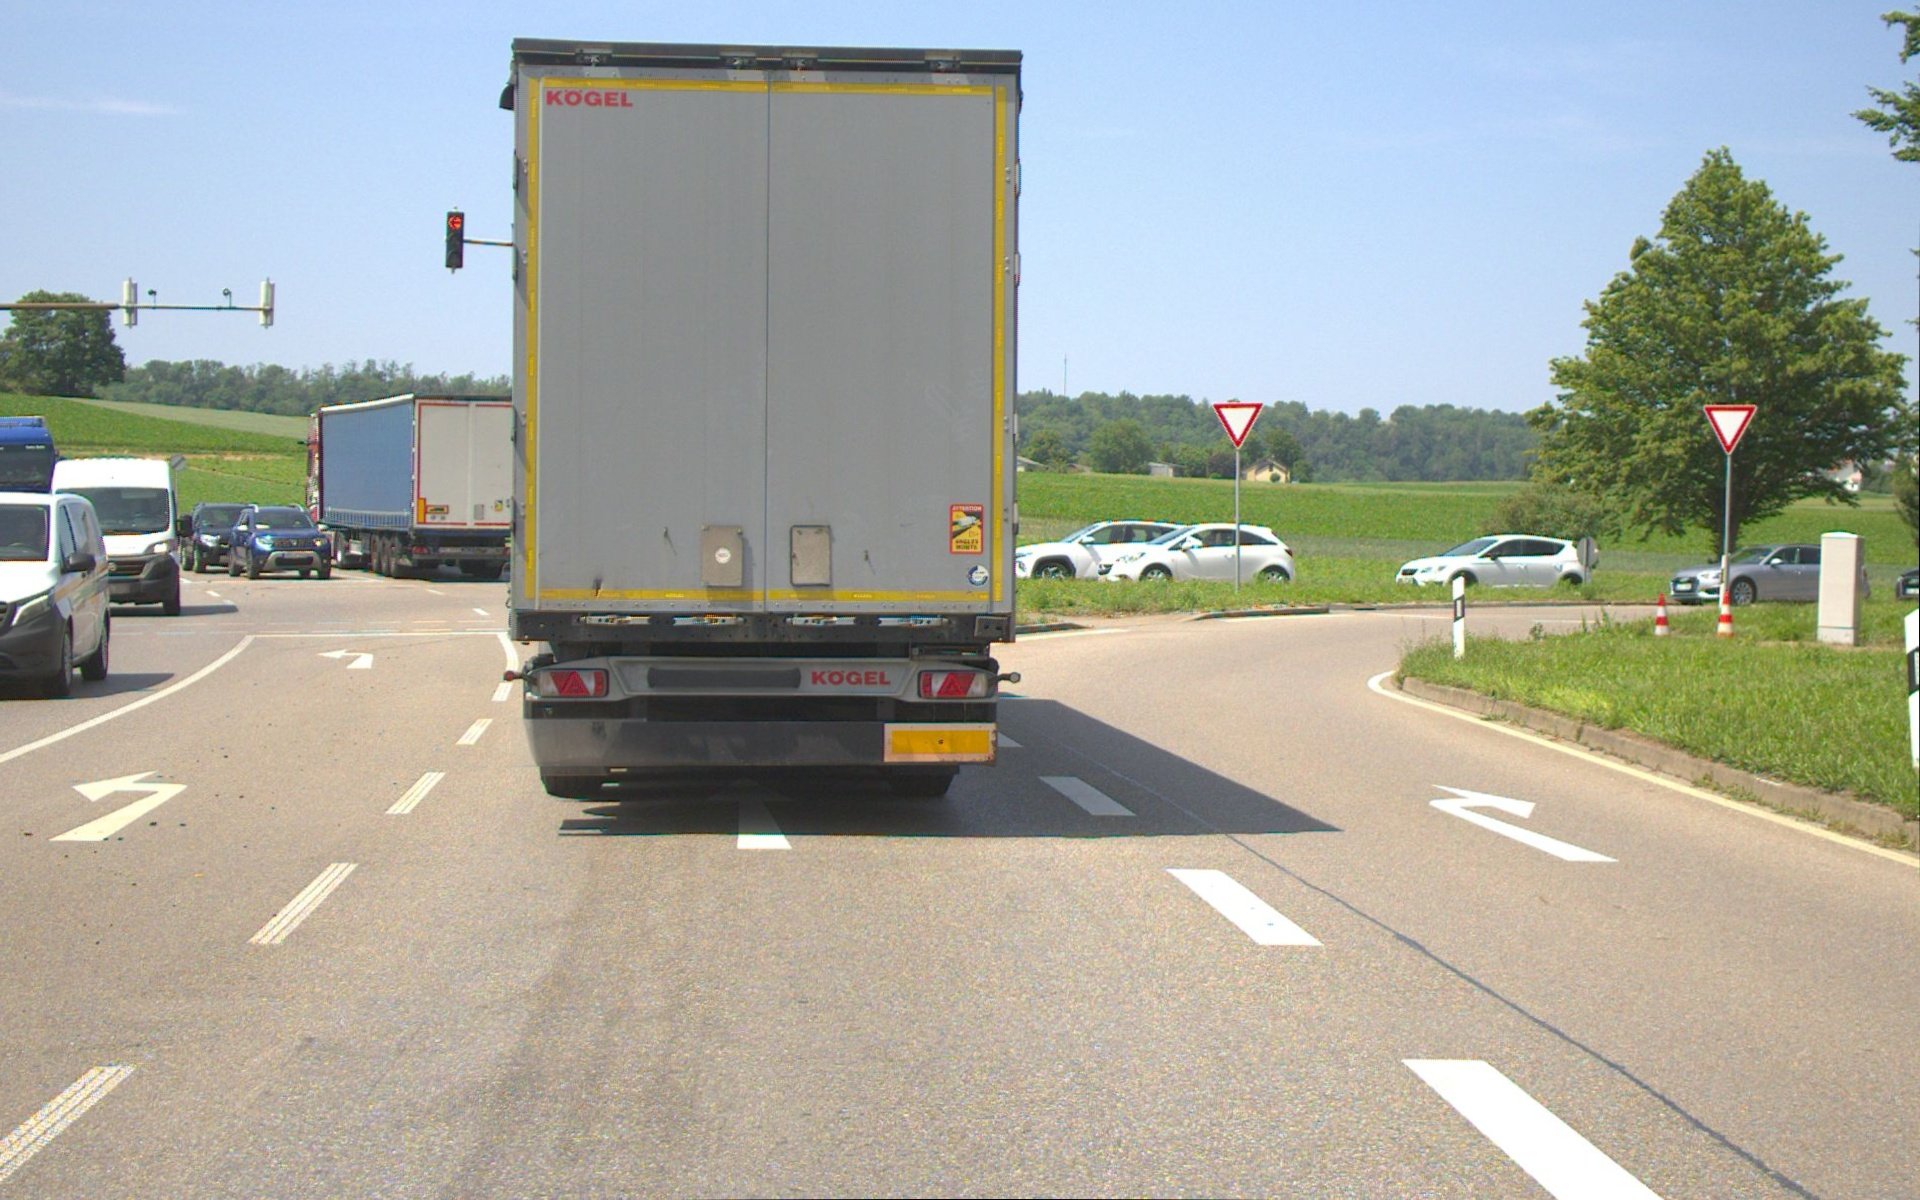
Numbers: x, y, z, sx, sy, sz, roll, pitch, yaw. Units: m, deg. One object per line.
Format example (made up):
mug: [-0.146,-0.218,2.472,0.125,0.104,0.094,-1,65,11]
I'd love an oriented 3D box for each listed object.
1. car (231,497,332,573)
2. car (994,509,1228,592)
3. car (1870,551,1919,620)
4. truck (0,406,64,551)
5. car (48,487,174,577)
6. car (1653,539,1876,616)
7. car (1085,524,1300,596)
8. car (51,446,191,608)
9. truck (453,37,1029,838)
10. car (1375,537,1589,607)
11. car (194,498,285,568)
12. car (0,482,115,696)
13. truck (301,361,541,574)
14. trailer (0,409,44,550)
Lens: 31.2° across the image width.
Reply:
car: [-15.291,-1.472,77.308,1.770,1.652,4.001,0,2,-18]
car: [3.201,-1.039,73.458,4.624,1.602,1.999,2,-1,-10]
car: [22.791,-0.263,77.366,4.547,1.505,1.801,2,-1,-32]
truck: [-27.631,-3.476,98.420,2.566,4.016,6.562,-1,2,-26]
car: [-18.452,-1.488,74.560,1.870,1.880,4.953,-1,1,-23]
car: [17.405,-0.478,74.336,4.546,1.505,1.801,2,0,-25]
car: [4.693,-0.807,69.517,3.958,1.414,1.829,0,0,-14]
car: [-13.412,-1.182,54.994,2.050,2.443,5.270,0,1,-14]
truck: [-1.464,-0.883,21.881,2.807,3.932,9.592,1,1,-5]
car: [10.924,-0.578,71.968,4.091,1.414,1.801,0,0,-22]
car: [-17.429,-1.630,83.088,1.770,1.652,4.001,0,2,-17]
car: [-9.200,-0.167,32.244,1.872,1.858,5.142,0,2,-7]
truck: [-13.091,-3.098,81.943,2.960,4.568,16.322,0,2,-18]
trailer: [-30.387,-3.665,104.090,2.566,4.016,13.598,-1,2,-26]
